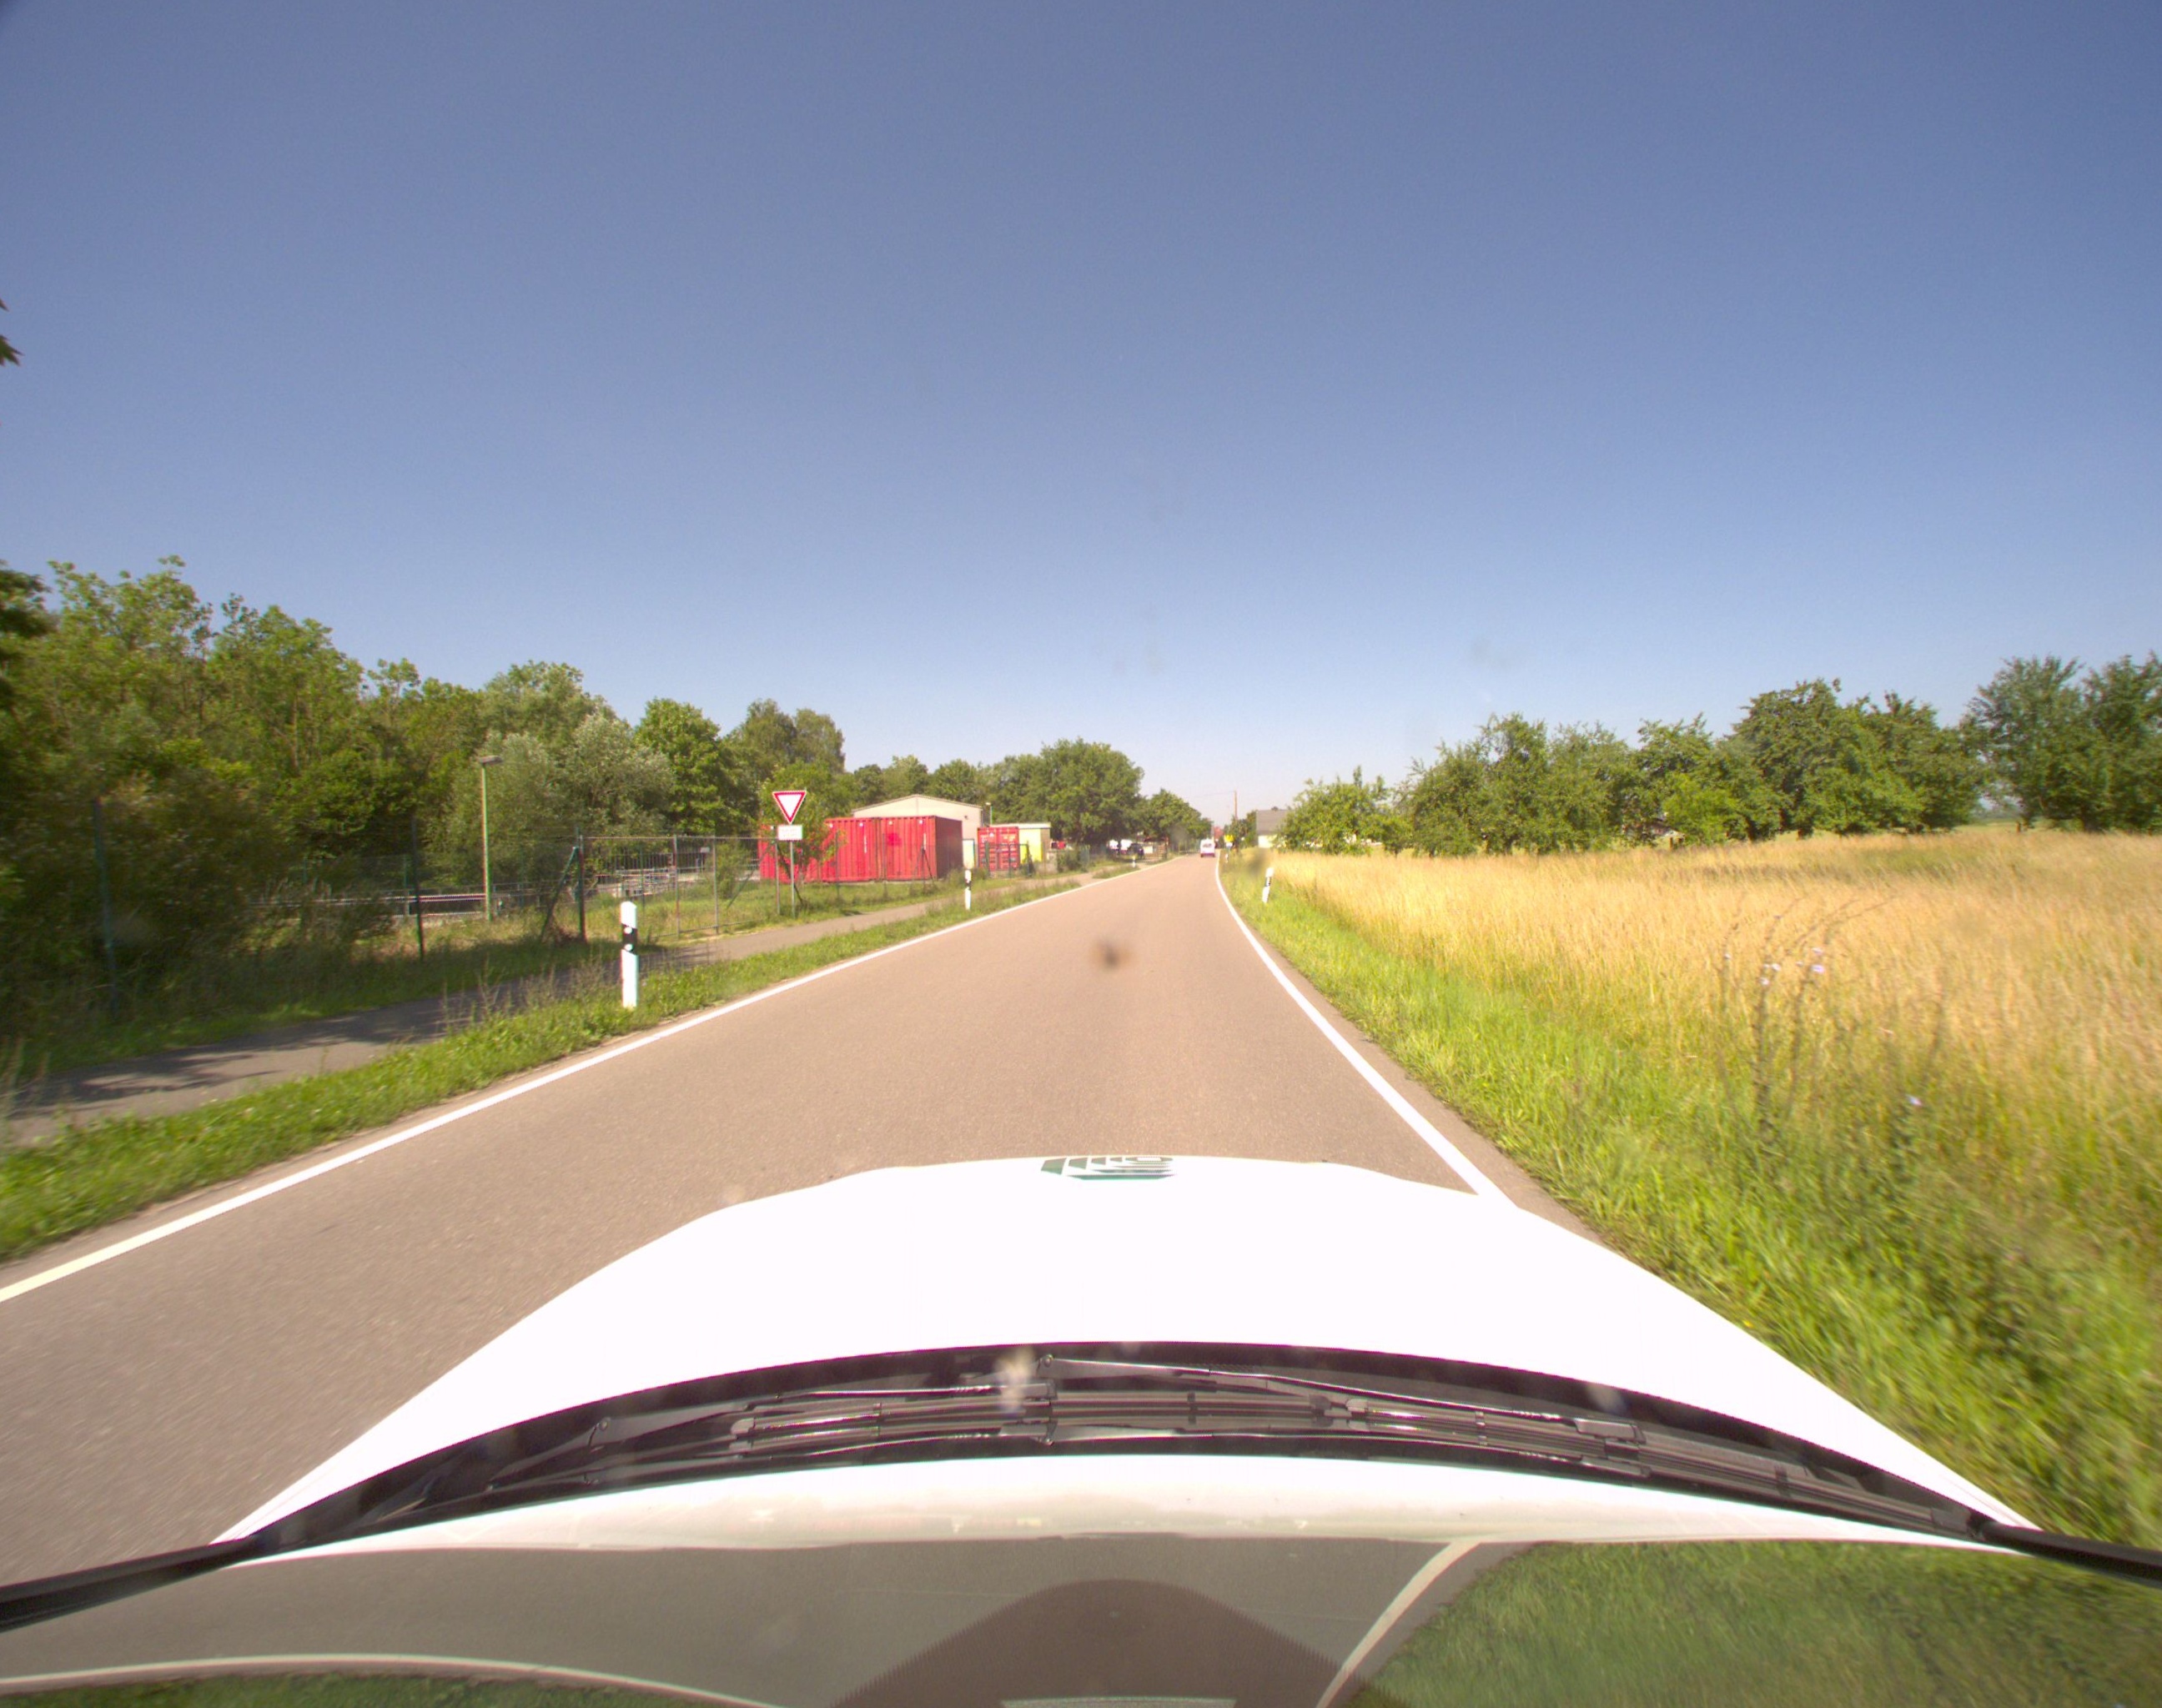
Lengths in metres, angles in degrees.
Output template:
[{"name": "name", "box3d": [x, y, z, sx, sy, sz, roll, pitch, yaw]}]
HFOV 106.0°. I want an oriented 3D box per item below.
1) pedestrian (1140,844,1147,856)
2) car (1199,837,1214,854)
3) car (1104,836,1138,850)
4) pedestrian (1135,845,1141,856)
[{"name": "pedestrian", "box3d": [9.077, -0.604, 118.515, 0.712, 1.803, 0.715, -2, 0, 32]}, {"name": "car", "box3d": [18.035, -1.213, 116.862, 1.981, 2.266, 4.739, -2, 0, 10]}, {"name": "car", "box3d": [6.910, -1.872, 139.399, 5.629, 2.266, 1.981, -2, 0, -30]}, {"name": "pedestrian", "box3d": [8.242, -0.445, 117.847, 0.670, 1.566, 0.723, -2, 0, 32]}]
